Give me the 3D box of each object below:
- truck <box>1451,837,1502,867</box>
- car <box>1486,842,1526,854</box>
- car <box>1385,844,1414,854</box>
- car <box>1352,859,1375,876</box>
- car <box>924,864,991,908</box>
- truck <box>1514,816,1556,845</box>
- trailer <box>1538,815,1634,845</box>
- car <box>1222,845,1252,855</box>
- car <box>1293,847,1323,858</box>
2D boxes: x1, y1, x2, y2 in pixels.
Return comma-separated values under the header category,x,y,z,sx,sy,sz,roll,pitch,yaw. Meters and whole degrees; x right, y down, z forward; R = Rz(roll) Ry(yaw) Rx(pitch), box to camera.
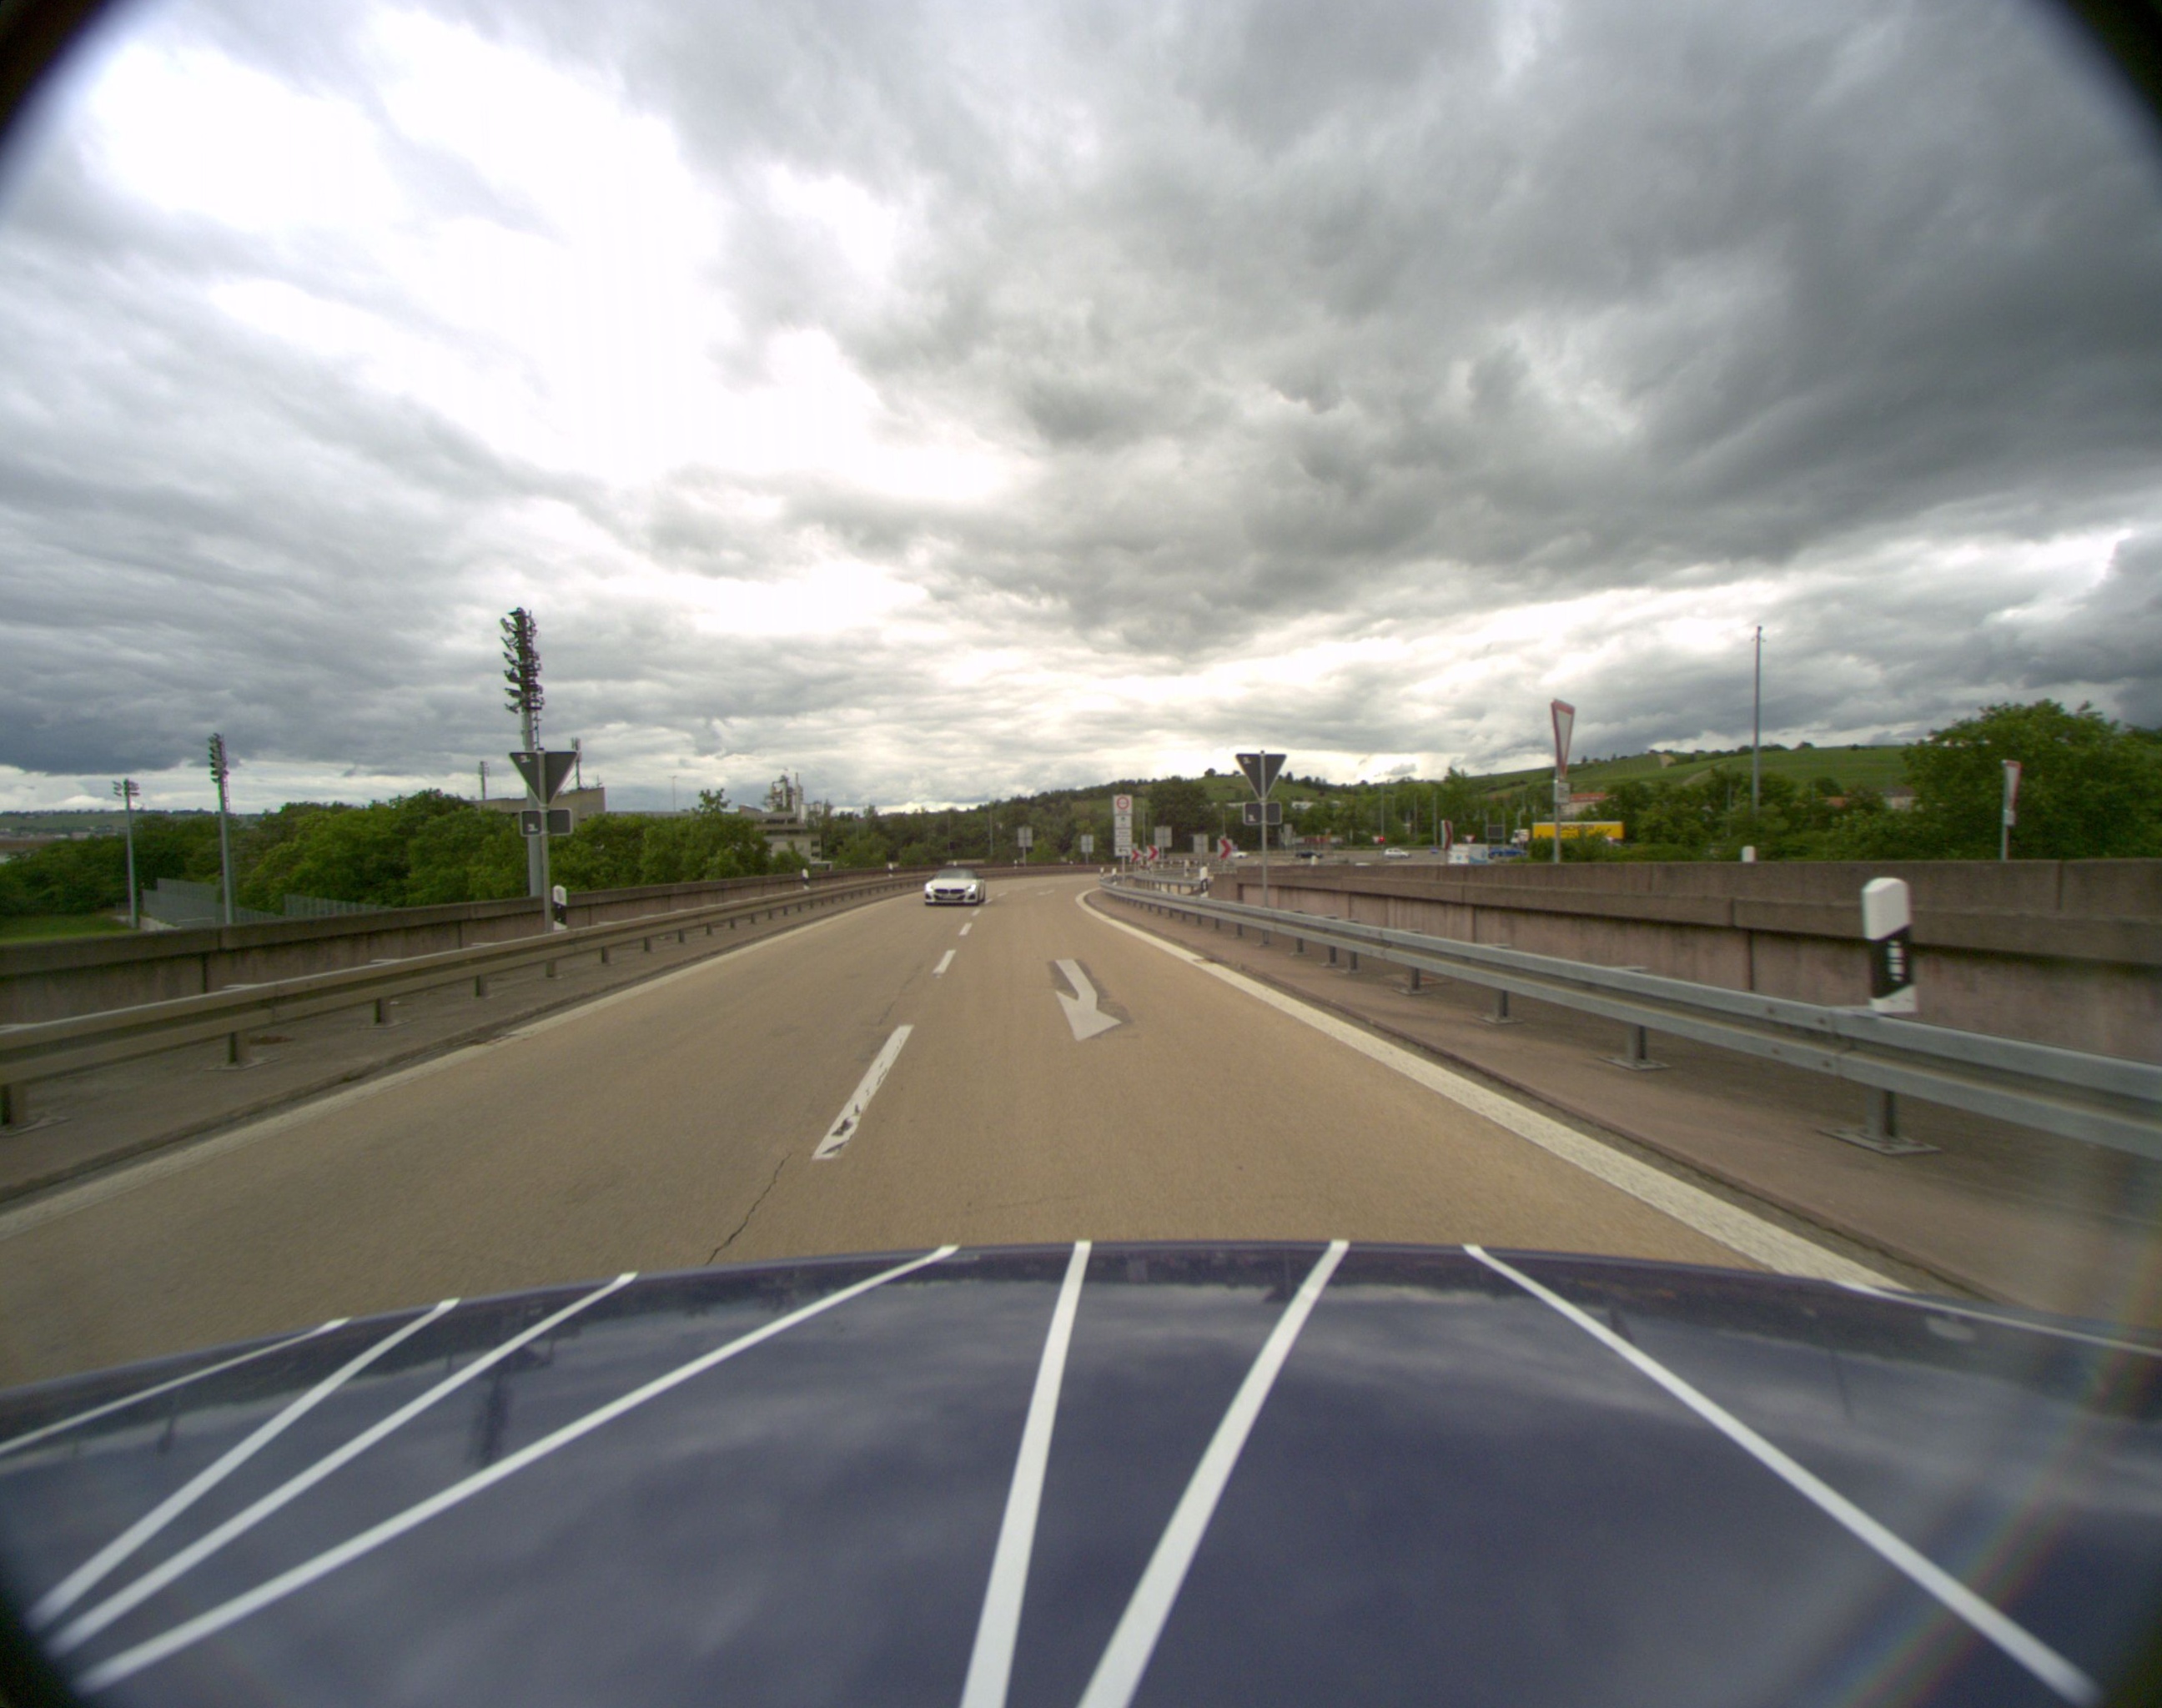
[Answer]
category,x,y,z,sx,sy,sz,roll,pitch,yaw
truck,44.731,-0.249,85.888,7.007,3.244,2.346,-2,1,-37
car,58.924,-0.797,105.359,4.529,1.446,1.613,-1,3,45
car,47.580,-0.691,113.512,3.738,1.366,1.631,-1,3,42
car,25.640,1.213,69.007,1.912,1.406,4.372,3,1,20
car,-4.420,1.103,27.821,1.863,1.337,4.823,1,1,-2
truck,69.860,-3.589,116.935,5.087,4.181,2.640,0,4,43
trailer,74.623,-3.547,112.576,11.622,4.181,2.640,0,3,43
car,27.321,-0.710,133.023,4.702,1.552,1.881,-1,3,41
car,36.903,-0.200,123.469,4.282,1.548,1.951,-1,3,41
